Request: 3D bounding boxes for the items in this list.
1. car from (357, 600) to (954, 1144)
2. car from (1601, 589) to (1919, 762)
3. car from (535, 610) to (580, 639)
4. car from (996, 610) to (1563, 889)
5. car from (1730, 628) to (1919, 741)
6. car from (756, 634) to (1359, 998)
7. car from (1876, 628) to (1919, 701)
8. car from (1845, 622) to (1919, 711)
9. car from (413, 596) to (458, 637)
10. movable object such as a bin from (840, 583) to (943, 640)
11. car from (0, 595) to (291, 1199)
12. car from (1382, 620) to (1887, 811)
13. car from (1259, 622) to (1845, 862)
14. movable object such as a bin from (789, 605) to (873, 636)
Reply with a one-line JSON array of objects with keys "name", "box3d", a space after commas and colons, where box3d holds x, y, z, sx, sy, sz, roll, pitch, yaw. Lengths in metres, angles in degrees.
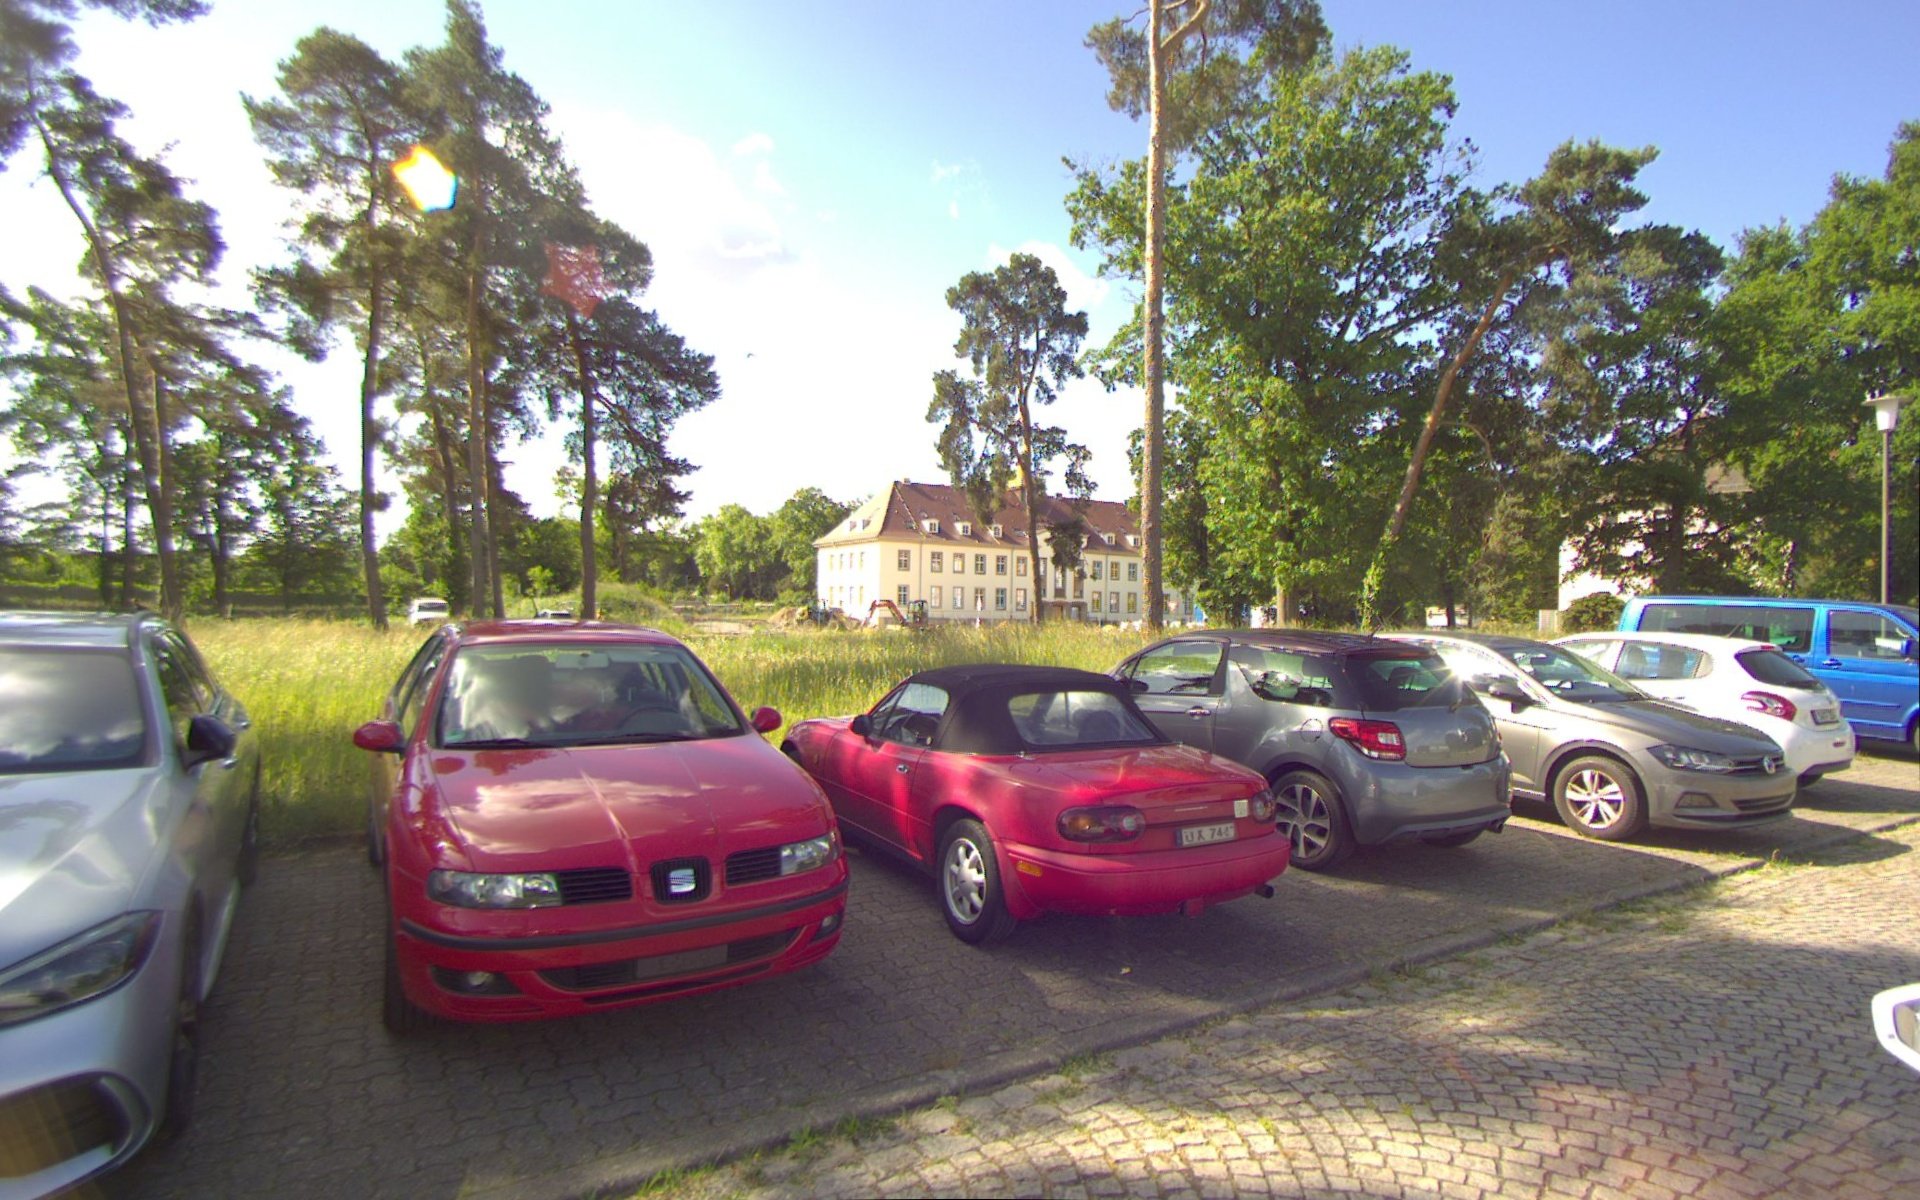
[{"name": "car", "box3d": [-2.100, 0.786, 5.395, 1.917, 1.440, 4.839, 2, 0, -31]}, {"name": "car", "box3d": [11.592, 0.919, 13.405, 1.983, 1.994, 4.691, 2, 1, -32]}, {"name": "car", "box3d": [-23.948, 1.441, 59.670, 1.890, 1.626, 4.208, 1, -1, -31]}, {"name": "car", "box3d": [2.146, 0.895, 7.891, 1.801, 1.471, 4.056, 2, 0, -31]}, {"name": "car", "box3d": [13.841, 1.235, 14.659, 1.666, 1.459, 3.791, 2, 1, -35]}, {"name": "car", "box3d": [0.242, 0.932, 5.941, 1.740, 1.250, 3.612, 2, 0, -31]}, {"name": "car", "box3d": [21.092, 1.383, 19.982, 1.847, 1.468, 3.899, 1, 1, -33]}, {"name": "car", "box3d": [18.976, 1.274, 18.267, 1.953, 1.589, 3.929, 0, 1, -33]}, {"name": "car", "box3d": [-29.256, 0.920, 55.978, 1.935, 2.192, 4.822, 1, -1, -31]}, {"name": "movable object such as a bin", "box3d": [-4.720, 0.855, 70.750, 3.865, 3.780, 6.772, 0, -1, 34]}, {"name": "car", "box3d": [-3.821, 0.750, 3.769, 1.917, 1.440, 4.839, 2, 0, -31]}, {"name": "car", "box3d": [6.989, 1.049, 10.898, 1.803, 1.495, 4.173, 1, 0, -32]}, {"name": "car", "box3d": [4.874, 0.995, 8.893, 1.901, 1.444, 4.056, 1, 0, -31]}, {"name": "movable object such as a bin", "box3d": [-9.454, 1.502, 73.853, 5.564, 2.153, 2.530, 1, -1, 14]}]
